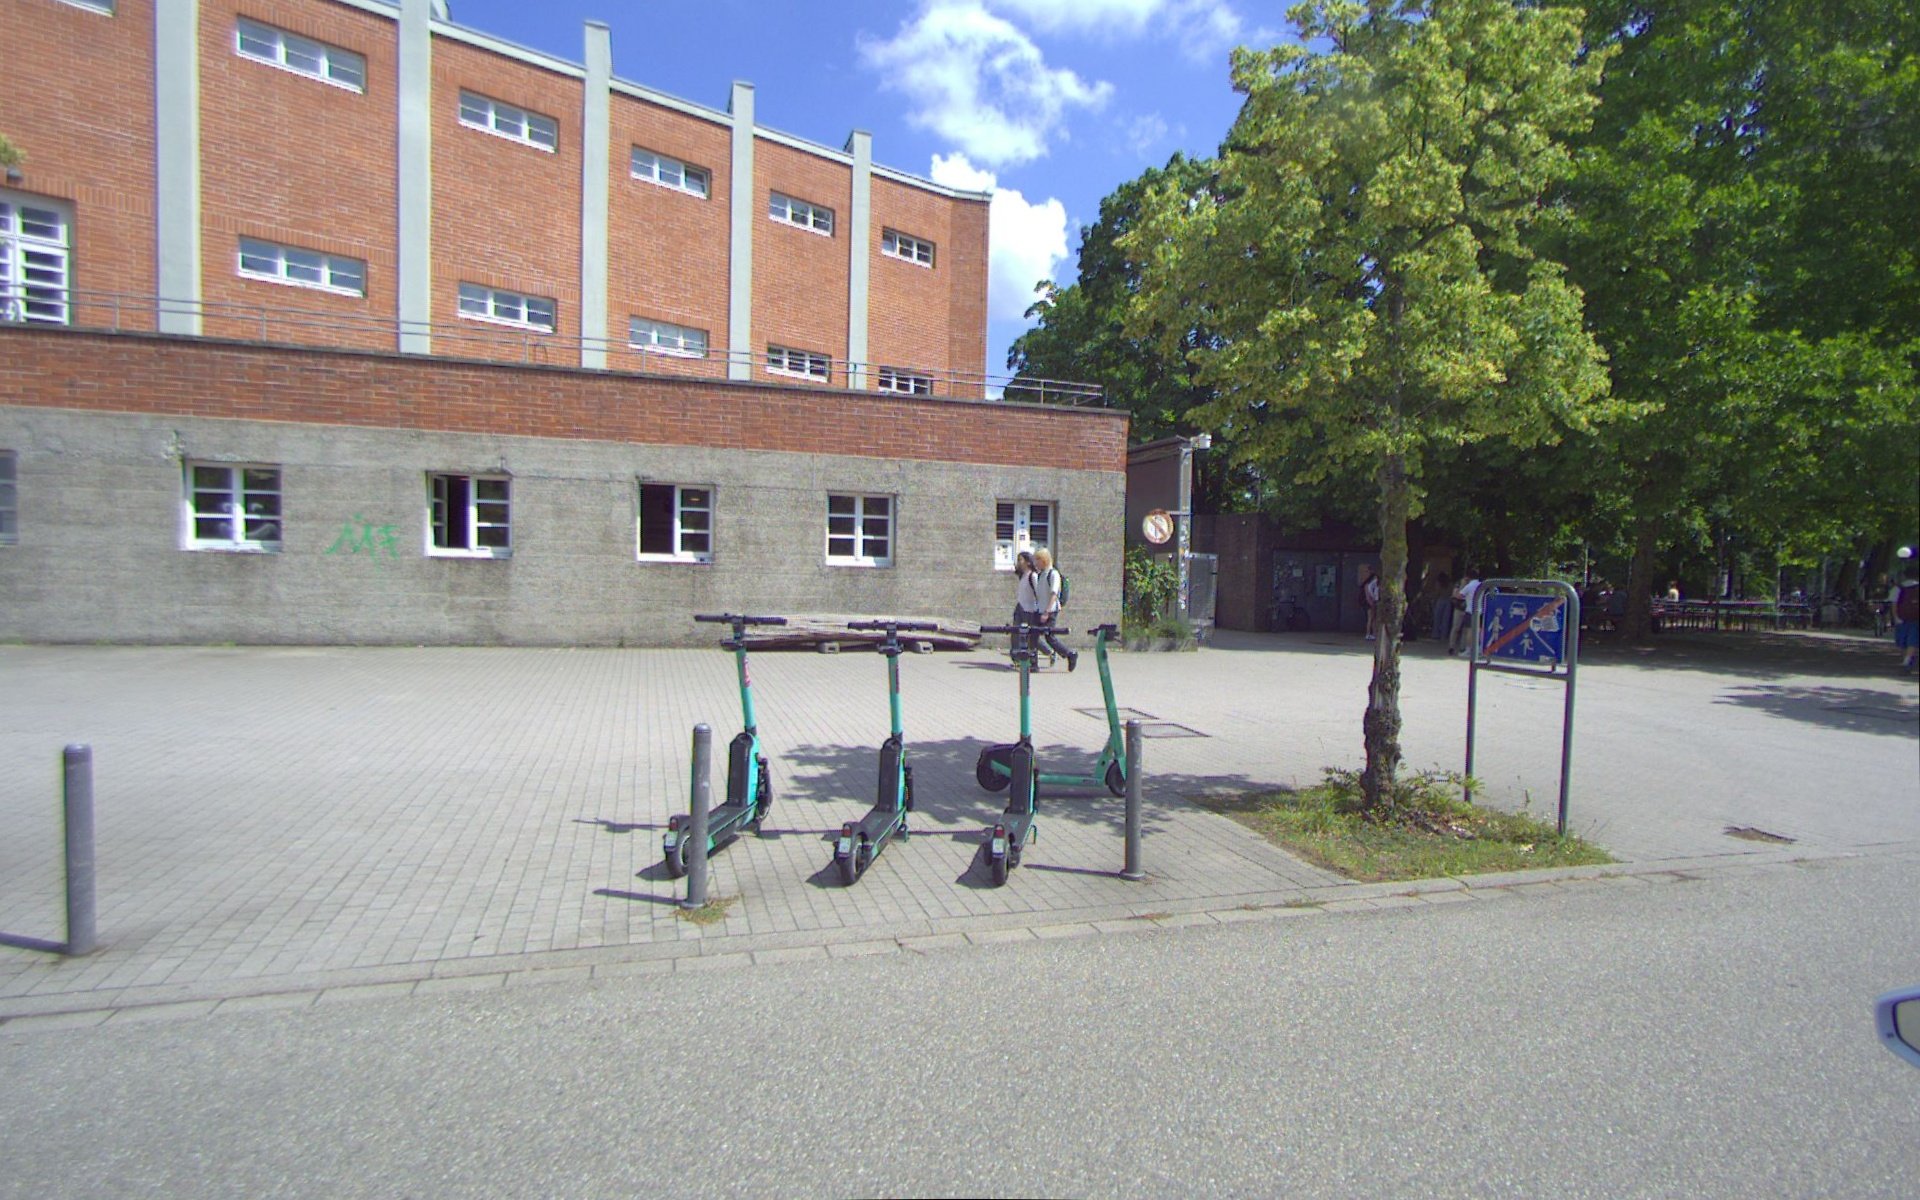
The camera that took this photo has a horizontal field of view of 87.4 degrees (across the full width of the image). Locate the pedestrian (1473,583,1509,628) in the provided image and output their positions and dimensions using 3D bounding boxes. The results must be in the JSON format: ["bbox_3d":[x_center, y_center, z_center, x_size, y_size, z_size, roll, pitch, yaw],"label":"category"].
[{"bbox_3d":[15.452,0.159,29.223,0.682,1.288,0.559,1,3,-17],"label":"pedestrian"}]

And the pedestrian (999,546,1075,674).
[{"bbox_3d":[1.120,0.142,14.621,0.903,1.803,0.575,1,2,-19],"label":"pedestrian"}]

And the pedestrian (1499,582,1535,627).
[{"bbox_3d":[16.365,0.138,29.514,0.682,1.288,0.559,1,3,-17],"label":"pedestrian"}]

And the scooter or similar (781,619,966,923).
[{"bbox_3d":[-0.379,0.761,5.182,0.553,1.241,1.576,2,2,9],"label":"scooter or similar"}]

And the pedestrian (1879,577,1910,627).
[{"bbox_3d":[32.332,0.048,34.761,0.724,1.693,0.624,-1,4,-40],"label":"pedestrian"}]

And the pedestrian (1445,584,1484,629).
[{"bbox_3d":[15.152,0.192,30.175,0.766,1.341,0.687,1,2,-17],"label":"pedestrian"}]

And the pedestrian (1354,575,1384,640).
[{"bbox_3d":[10.414,0.183,25.594,0.595,1.615,0.412,3,4,30],"label":"pedestrian"}]

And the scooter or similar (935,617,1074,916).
[{"bbox_3d":[0.282,0.751,5.244,0.513,1.241,1.576,2,2,9],"label":"scooter or similar"}]

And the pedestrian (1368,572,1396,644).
[{"bbox_3d":[10.498,0.186,24.974,0.521,1.734,0.447,3,4,28],"label":"pedestrian"}]

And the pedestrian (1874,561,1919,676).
[{"bbox_3d":[15.942,0.294,16.818,0.841,1.861,0.873,4,5,41],"label":"pedestrian"}]

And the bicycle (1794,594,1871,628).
[{"bbox_3d":[31.081,0.388,35.815,0.577,1.134,2.000,0,2,-26],"label":"bicycle"}]

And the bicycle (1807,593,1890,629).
[{"bbox_3d":[30.185,0.355,34.161,0.577,1.134,2.000,0,2,-26],"label":"bicycle"}]

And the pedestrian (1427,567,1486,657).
[{"bbox_3d":[9.989,0.236,20.224,0.862,1.743,0.490,3,1,10],"label":"pedestrian"}]

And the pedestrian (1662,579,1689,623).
[{"bbox_3d":[23.904,0.033,33.568,0.454,1.442,0.503,0,3,-28],"label":"pedestrian"}]

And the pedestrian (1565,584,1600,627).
[{"bbox_3d":[19.148,0.170,30.883,0.758,1.267,0.566,0,3,-30],"label":"pedestrian"}]

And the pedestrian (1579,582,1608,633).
[{"bbox_3d":[17.827,0.207,28.262,0.586,1.388,0.701,3,5,38],"label":"pedestrian"}]

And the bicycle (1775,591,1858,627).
[{"bbox_3d":[28.675,0.278,33.666,0.577,1.134,2.000,0,2,-26],"label":"bicycle"}]

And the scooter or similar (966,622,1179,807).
[{"bbox_3d":[0.747,0.765,6.861,1.324,1.164,0.564,2,2,-6],"label":"scooter or similar"}]

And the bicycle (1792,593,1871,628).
[{"bbox_3d":[30.522,0.363,35.209,0.577,1.134,2.000,0,2,-26],"label":"bicycle"}]

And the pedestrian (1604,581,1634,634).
[{"bbox_3d":[18.062,0.207,27.536,0.586,1.388,0.739,3,5,38],"label":"pedestrian"}]

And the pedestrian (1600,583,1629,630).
[{"bbox_3d":[18.424,0.169,28.283,0.586,1.250,0.739,3,5,38],"label":"pedestrian"}]

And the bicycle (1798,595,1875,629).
[{"bbox_3d":[31.699,0.419,36.363,0.577,1.134,2.000,0,2,-26],"label":"bicycle"}]

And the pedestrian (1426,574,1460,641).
[{"bbox_3d":[12.542,0.182,26.089,0.667,1.673,0.502,4,4,33],"label":"pedestrian"}]

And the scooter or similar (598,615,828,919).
[{"bbox_3d":[-1.192,0.741,5.178,0.559,1.241,1.576,2,2,9],"label":"scooter or similar"}]

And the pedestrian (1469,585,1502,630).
[{"bbox_3d":[16.035,0.238,30.652,0.550,1.341,0.644,1,2,-16],"label":"pedestrian"}]

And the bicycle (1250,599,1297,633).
[{"bbox_3d":[8.463,0.426,27.084,1.212,0.895,0.304,1,2,-17],"label":"bicycle"}]

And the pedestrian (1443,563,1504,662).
[{"bbox_3d":[9.919,0.241,19.419,0.862,1.844,0.449,3,1,10],"label":"pedestrian"}]

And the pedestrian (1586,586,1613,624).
[{"bbox_3d":[20.876,0.147,32.779,0.721,1.210,0.389,0,3,-28],"label":"pedestrian"}]

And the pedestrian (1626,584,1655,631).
[{"bbox_3d":[18.874,0.201,27.863,0.586,1.250,0.739,3,5,38],"label":"pedestrian"}]

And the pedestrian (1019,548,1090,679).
[{"bbox_3d":[1.320,0.179,14.092,0.793,1.786,0.562,1,2,-19],"label":"pedestrian"}]

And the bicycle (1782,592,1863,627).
[{"bbox_3d":[29.327,0.308,34.195,0.577,1.134,2.000,0,2,-26],"label":"bicycle"}]

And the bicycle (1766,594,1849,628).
[{"bbox_3d":[27.886,0.354,33.090,0.577,1.021,2.000,0,2,-26],"label":"bicycle"}]

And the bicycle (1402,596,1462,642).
[{"bbox_3d":[12.258,0.489,26.081,1.325,1.091,0.416,4,1,29],"label":"bicycle"}]

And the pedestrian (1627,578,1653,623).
[{"bbox_3d":[23.335,0.016,34.477,0.468,1.543,0.503,0,3,-29],"label":"pedestrian"}]
